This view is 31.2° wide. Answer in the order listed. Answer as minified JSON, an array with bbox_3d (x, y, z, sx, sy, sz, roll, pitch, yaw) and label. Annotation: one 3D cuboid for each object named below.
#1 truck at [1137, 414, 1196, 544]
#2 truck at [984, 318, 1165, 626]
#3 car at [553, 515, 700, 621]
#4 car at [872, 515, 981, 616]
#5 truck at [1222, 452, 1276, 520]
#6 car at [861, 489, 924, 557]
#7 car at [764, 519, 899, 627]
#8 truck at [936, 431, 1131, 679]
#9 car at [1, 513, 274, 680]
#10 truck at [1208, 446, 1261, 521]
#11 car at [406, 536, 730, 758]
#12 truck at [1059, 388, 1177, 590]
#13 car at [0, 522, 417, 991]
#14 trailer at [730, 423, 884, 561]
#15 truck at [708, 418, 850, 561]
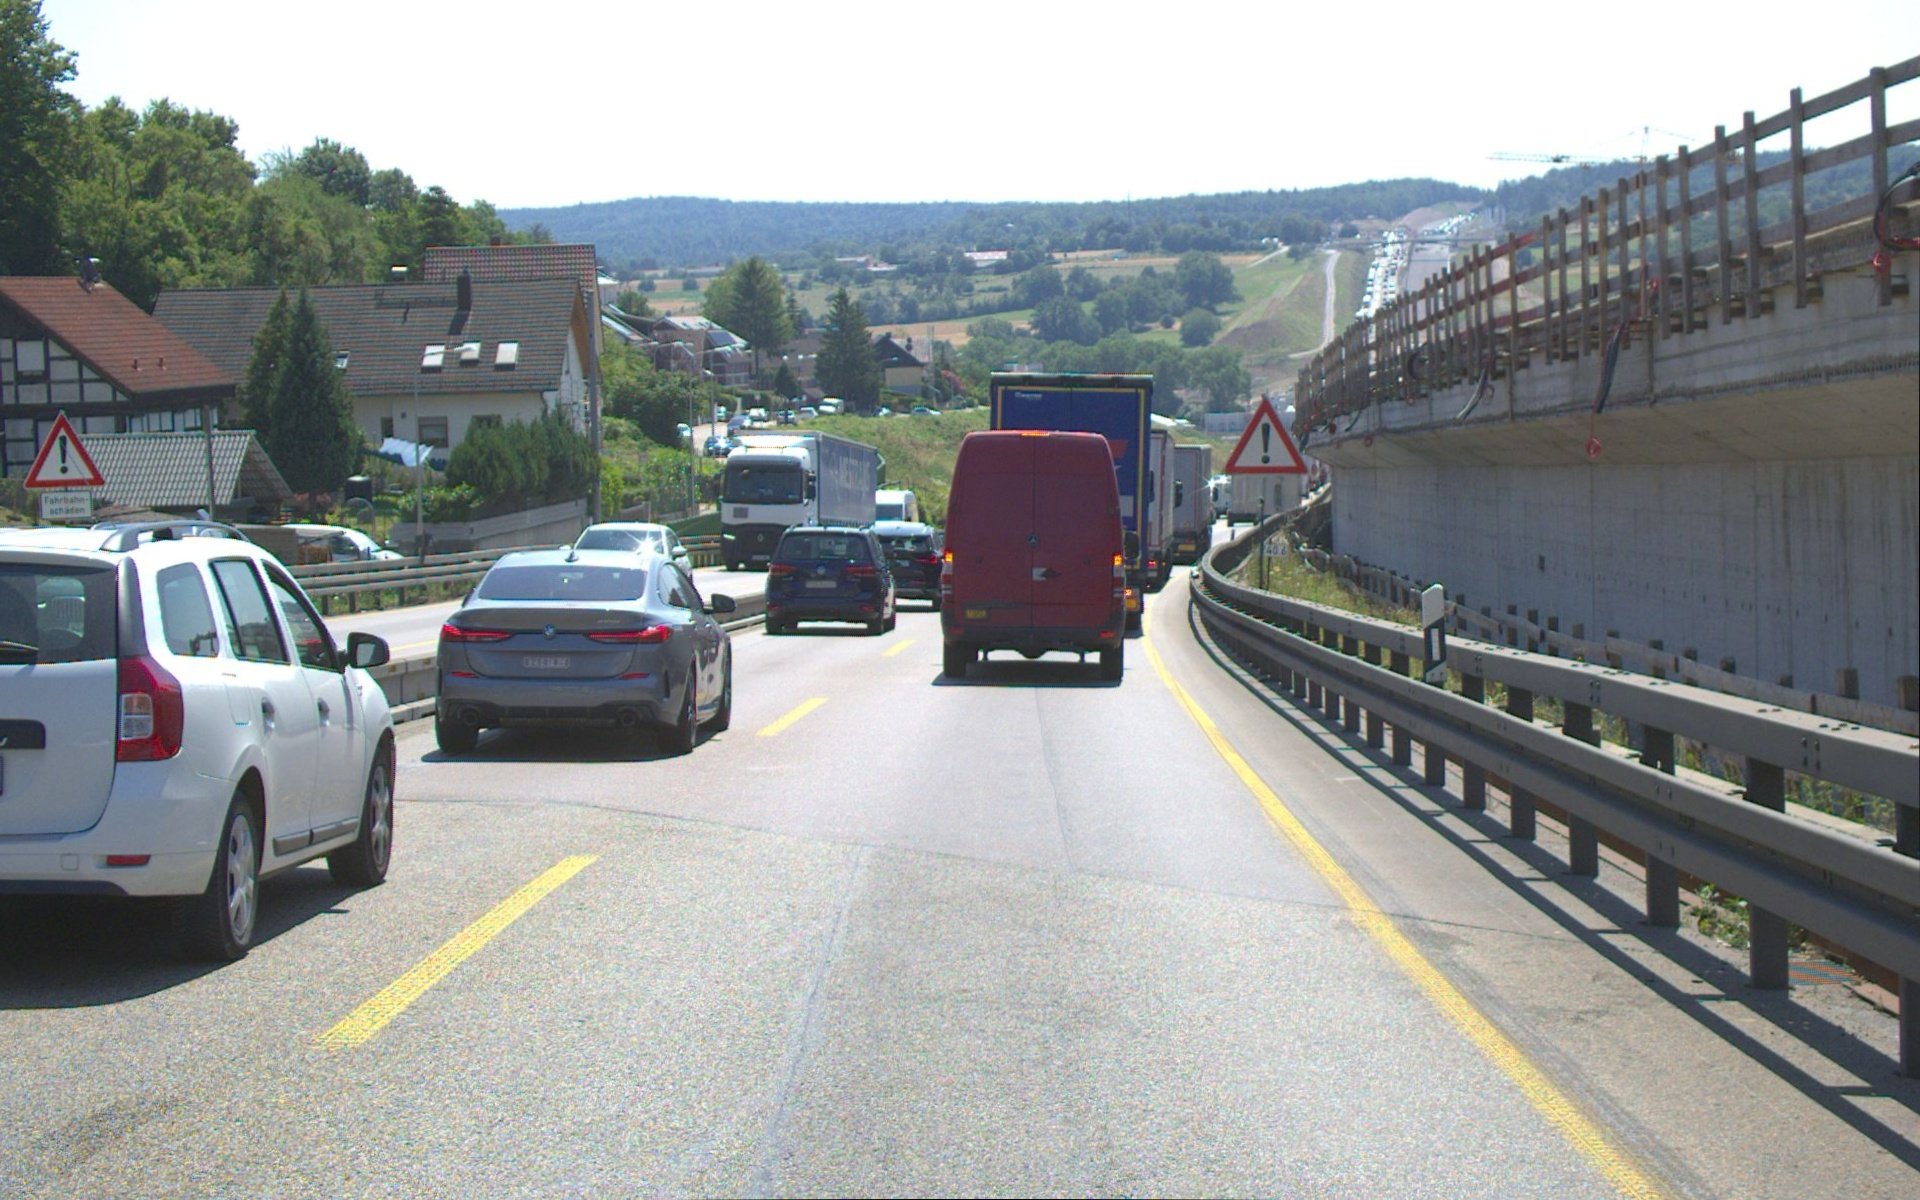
[{"bbox_3d":[7.151,-4.154,119.041,1.994,4.366,3.999,0,0,3],"label":"truck"},{"bbox_3d":[1.993,-2.011,58.765,2.786,4.799,9.684,0,0,2],"label":"truck"},{"bbox_3d":[-5.493,-0.505,57.109,1.750,1.681,4.386,0,0,4],"label":"car"},{"bbox_3d":[-0.599,-0.635,65.078,1.729,1.832,3.999,0,0,4],"label":"car"},{"bbox_3d":[19.676,-7.731,234.507,3.468,4.366,8.556,0,0,3],"label":"truck"},{"bbox_3d":[-2.610,-2.995,133.405,2.005,2.594,5.979,0,1,3],"label":"car"},{"bbox_3d":[-1.956,-0.402,53.182,1.810,1.602,3.719,0,0,2],"label":"car"},{"bbox_3d":[0.862,-0.469,37.854,1.994,2.570,3.999,0,0,3],"label":"truck"},{"bbox_3d":[-9.097,-0.040,38.412,1.905,1.736,4.662,0,0,0],"label":"car"},{"bbox_3d":[16.994,-7.176,213.023,3.069,4.366,8.556,0,0,3],"label":"truck"},{"bbox_3d":[-2.763,0.290,25.057,1.795,1.480,4.049,0,1,1],"label":"car"},{"bbox_3d":[4.002,-2.687,87.530,2.786,4.799,9.684,0,0,2],"label":"truck"},{"bbox_3d":[-3.296,0.501,13.101,1.651,1.478,4.266,-2,0,1],"label":"car"},{"bbox_3d":[-4.662,-3.335,107.535,3.136,4.065,11.817,0,1,6],"label":"trailer"},{"bbox_3d":[-5.263,-3.234,101.283,3.136,4.065,6.878,1,1,6],"label":"truck"}]
